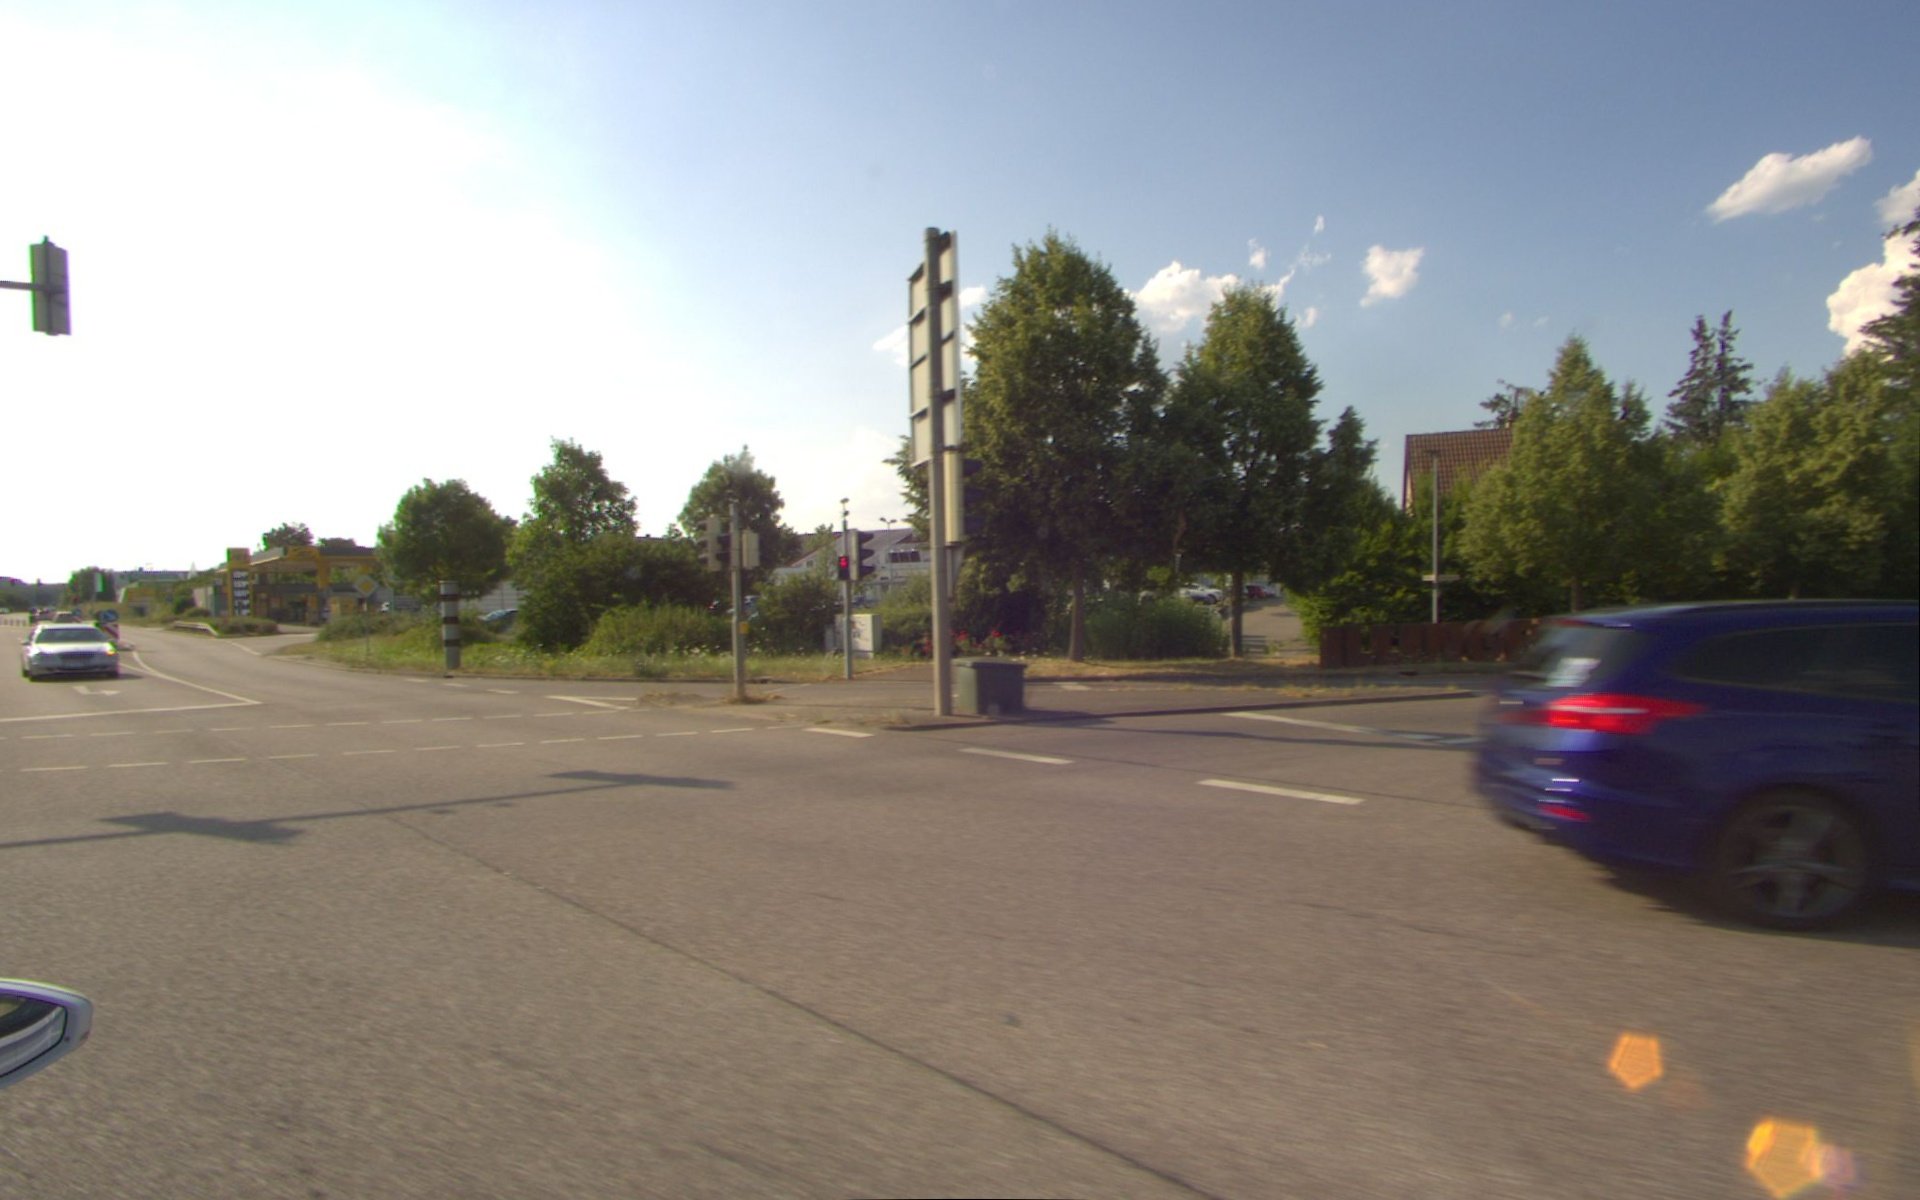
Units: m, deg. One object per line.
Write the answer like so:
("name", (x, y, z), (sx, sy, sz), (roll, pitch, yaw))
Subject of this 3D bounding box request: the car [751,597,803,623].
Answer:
("car", (-15.123, 0.861, 82.855), (1.967, 2.039, 4.661), (-1, -2, 24))

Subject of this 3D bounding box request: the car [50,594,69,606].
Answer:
("car", (-157.094, 0.028, 174.644), (3.956, 2.039, 1.984), (-2, -2, 42))

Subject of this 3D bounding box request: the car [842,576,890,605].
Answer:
("car", (-7.251, -0.706, 77.538), (2.277, 2.039, 3.995), (-1, -2, 18))

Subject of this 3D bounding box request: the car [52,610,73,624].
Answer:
("car", (-95.812, 1.799, 106.889), (1.540, 1.467, 3.020), (1, -2, -44))

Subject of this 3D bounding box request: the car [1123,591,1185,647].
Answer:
("car", (9.457, 0.948, 48.534), (1.966, 2.538, 5.128), (-1, -2, 22))

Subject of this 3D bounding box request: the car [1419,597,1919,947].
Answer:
("car", (4.851, 0.764, 5.123), (4.221, 1.516, 1.793), (-1, -2, 12))

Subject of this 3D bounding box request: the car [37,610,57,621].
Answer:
("car", (-125.661, 2.161, 137.796), (3.168, 1.369, 1.732), (-2, -2, 42))

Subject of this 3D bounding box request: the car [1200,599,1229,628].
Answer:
("car", (18.672, 0.991, 73.697), (1.963, 2.039, 3.998), (-1, -2, 13))

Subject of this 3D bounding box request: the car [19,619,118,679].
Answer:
("car", (-25.057, 1.337, 28.085), (1.845, 1.533, 4.905), (1, -2, -44))
